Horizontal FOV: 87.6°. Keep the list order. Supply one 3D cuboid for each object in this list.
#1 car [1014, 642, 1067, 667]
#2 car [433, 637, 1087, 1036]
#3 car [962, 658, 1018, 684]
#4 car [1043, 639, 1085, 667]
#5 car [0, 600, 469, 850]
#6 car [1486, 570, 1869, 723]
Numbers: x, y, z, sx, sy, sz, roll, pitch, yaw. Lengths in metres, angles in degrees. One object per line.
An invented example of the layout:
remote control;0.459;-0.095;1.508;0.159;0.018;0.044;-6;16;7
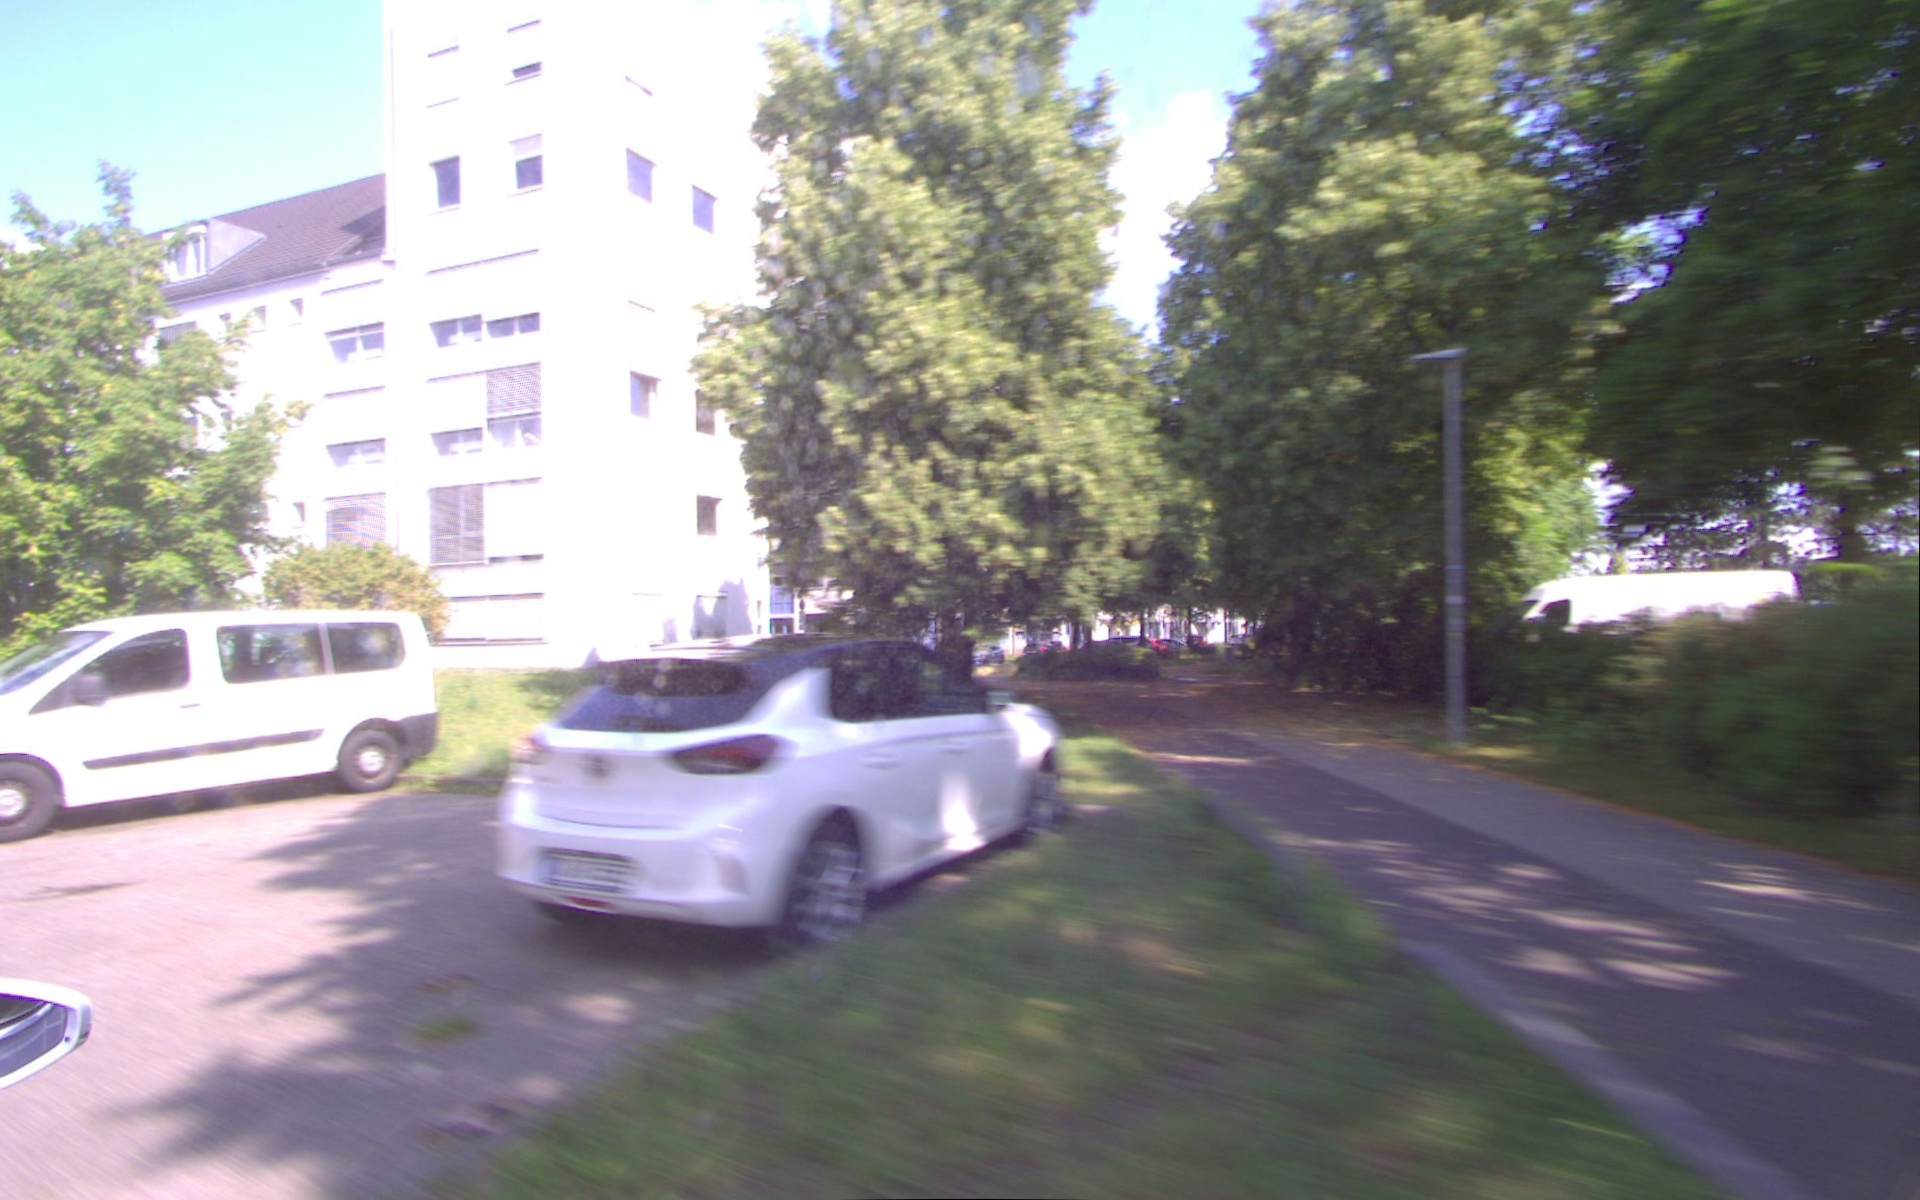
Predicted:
car;5.305;3.592;65.554;1.817;1.445;4.168;0;-4;31
car;-0.730;0.955;5.862;1.731;1.438;3.903;0;-2;27
car;1.875;4.337;61.424;1.790;1.460;3.823;2;-2;30
car;7.763;3.943;74.654;1.818;1.707;3.985;4;2;26
car;-7.713;1.091;9.875;1.970;1.989;4.936;-2;-3;29
car;16.179;0.999;23.022;6.843;3.086;1.999;2;-1;12
